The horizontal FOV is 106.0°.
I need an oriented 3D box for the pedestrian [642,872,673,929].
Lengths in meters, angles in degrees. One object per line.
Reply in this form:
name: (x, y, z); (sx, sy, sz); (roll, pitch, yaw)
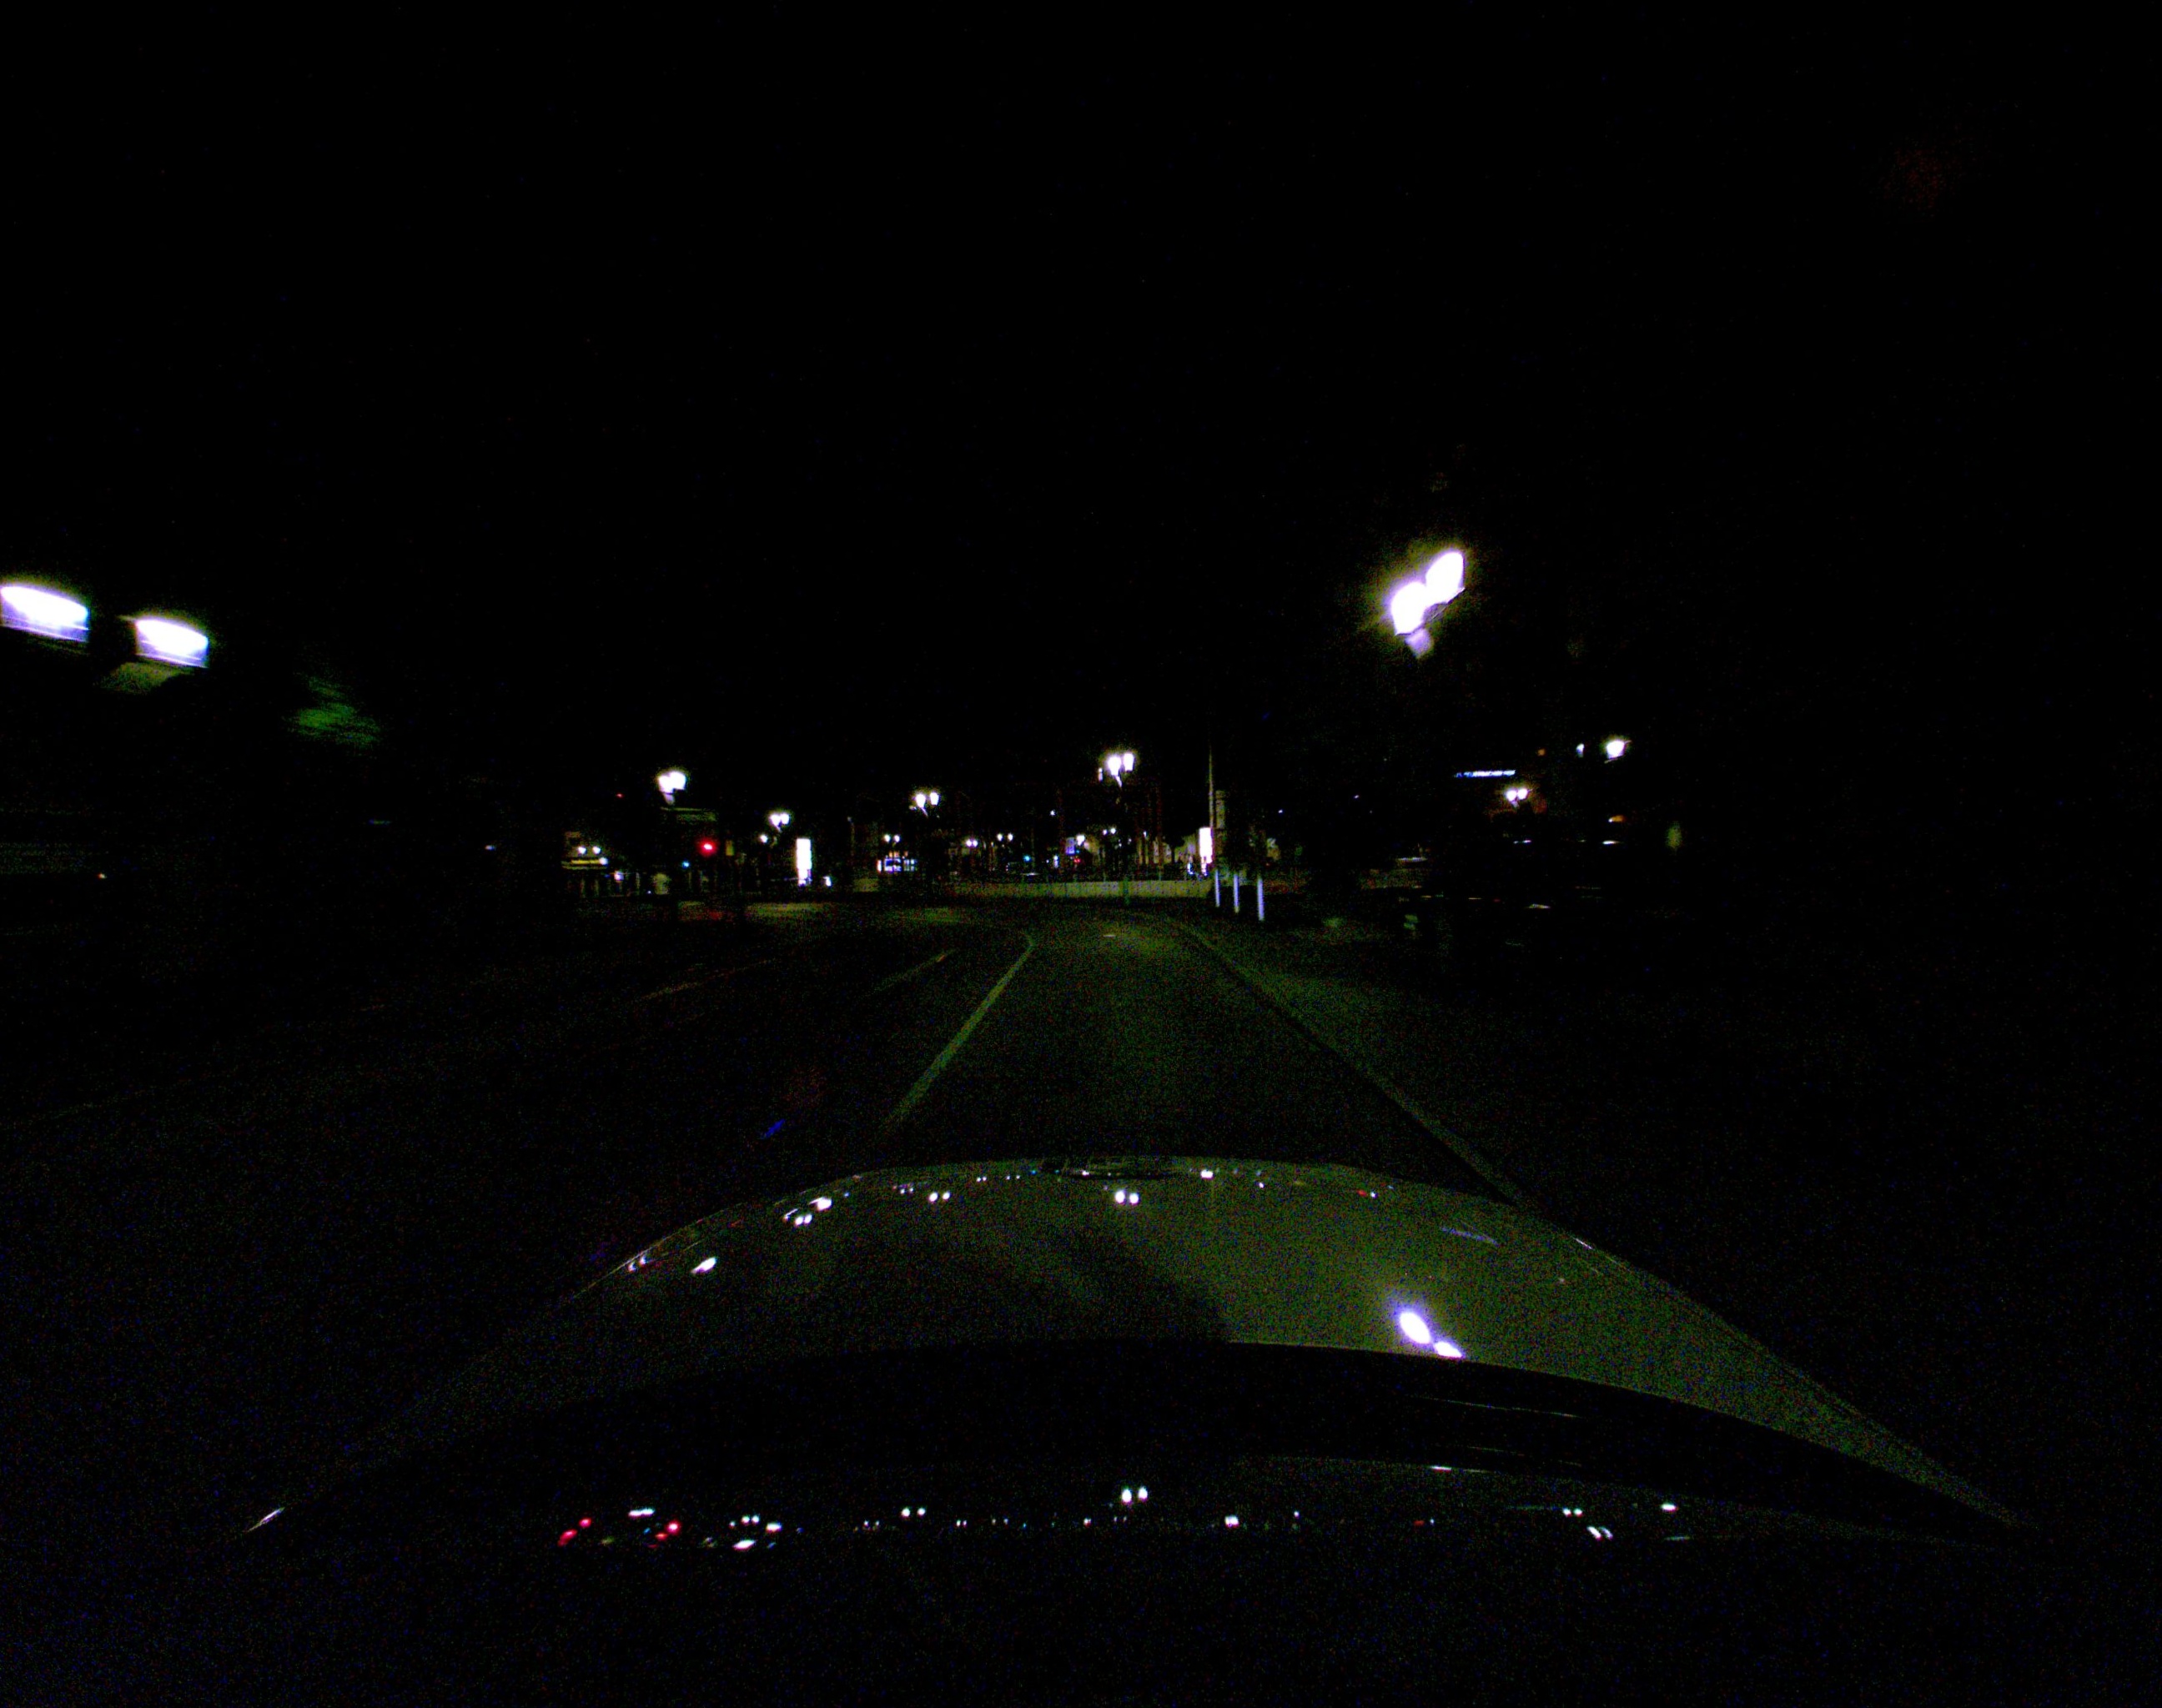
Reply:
pedestrian: (-13.925, 1.520, 26.793); (0.683, 1.822, 0.730); (-3, -3, 44)

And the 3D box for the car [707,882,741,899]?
car: (-35.636, 3.662, 81.311); (2.011, 1.574, 3.610); (-2, -1, -42)

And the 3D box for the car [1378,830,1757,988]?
car: (5.553, 0.566, 10.202); (1.729, 1.460, 4.722); (-2, -1, -3)
